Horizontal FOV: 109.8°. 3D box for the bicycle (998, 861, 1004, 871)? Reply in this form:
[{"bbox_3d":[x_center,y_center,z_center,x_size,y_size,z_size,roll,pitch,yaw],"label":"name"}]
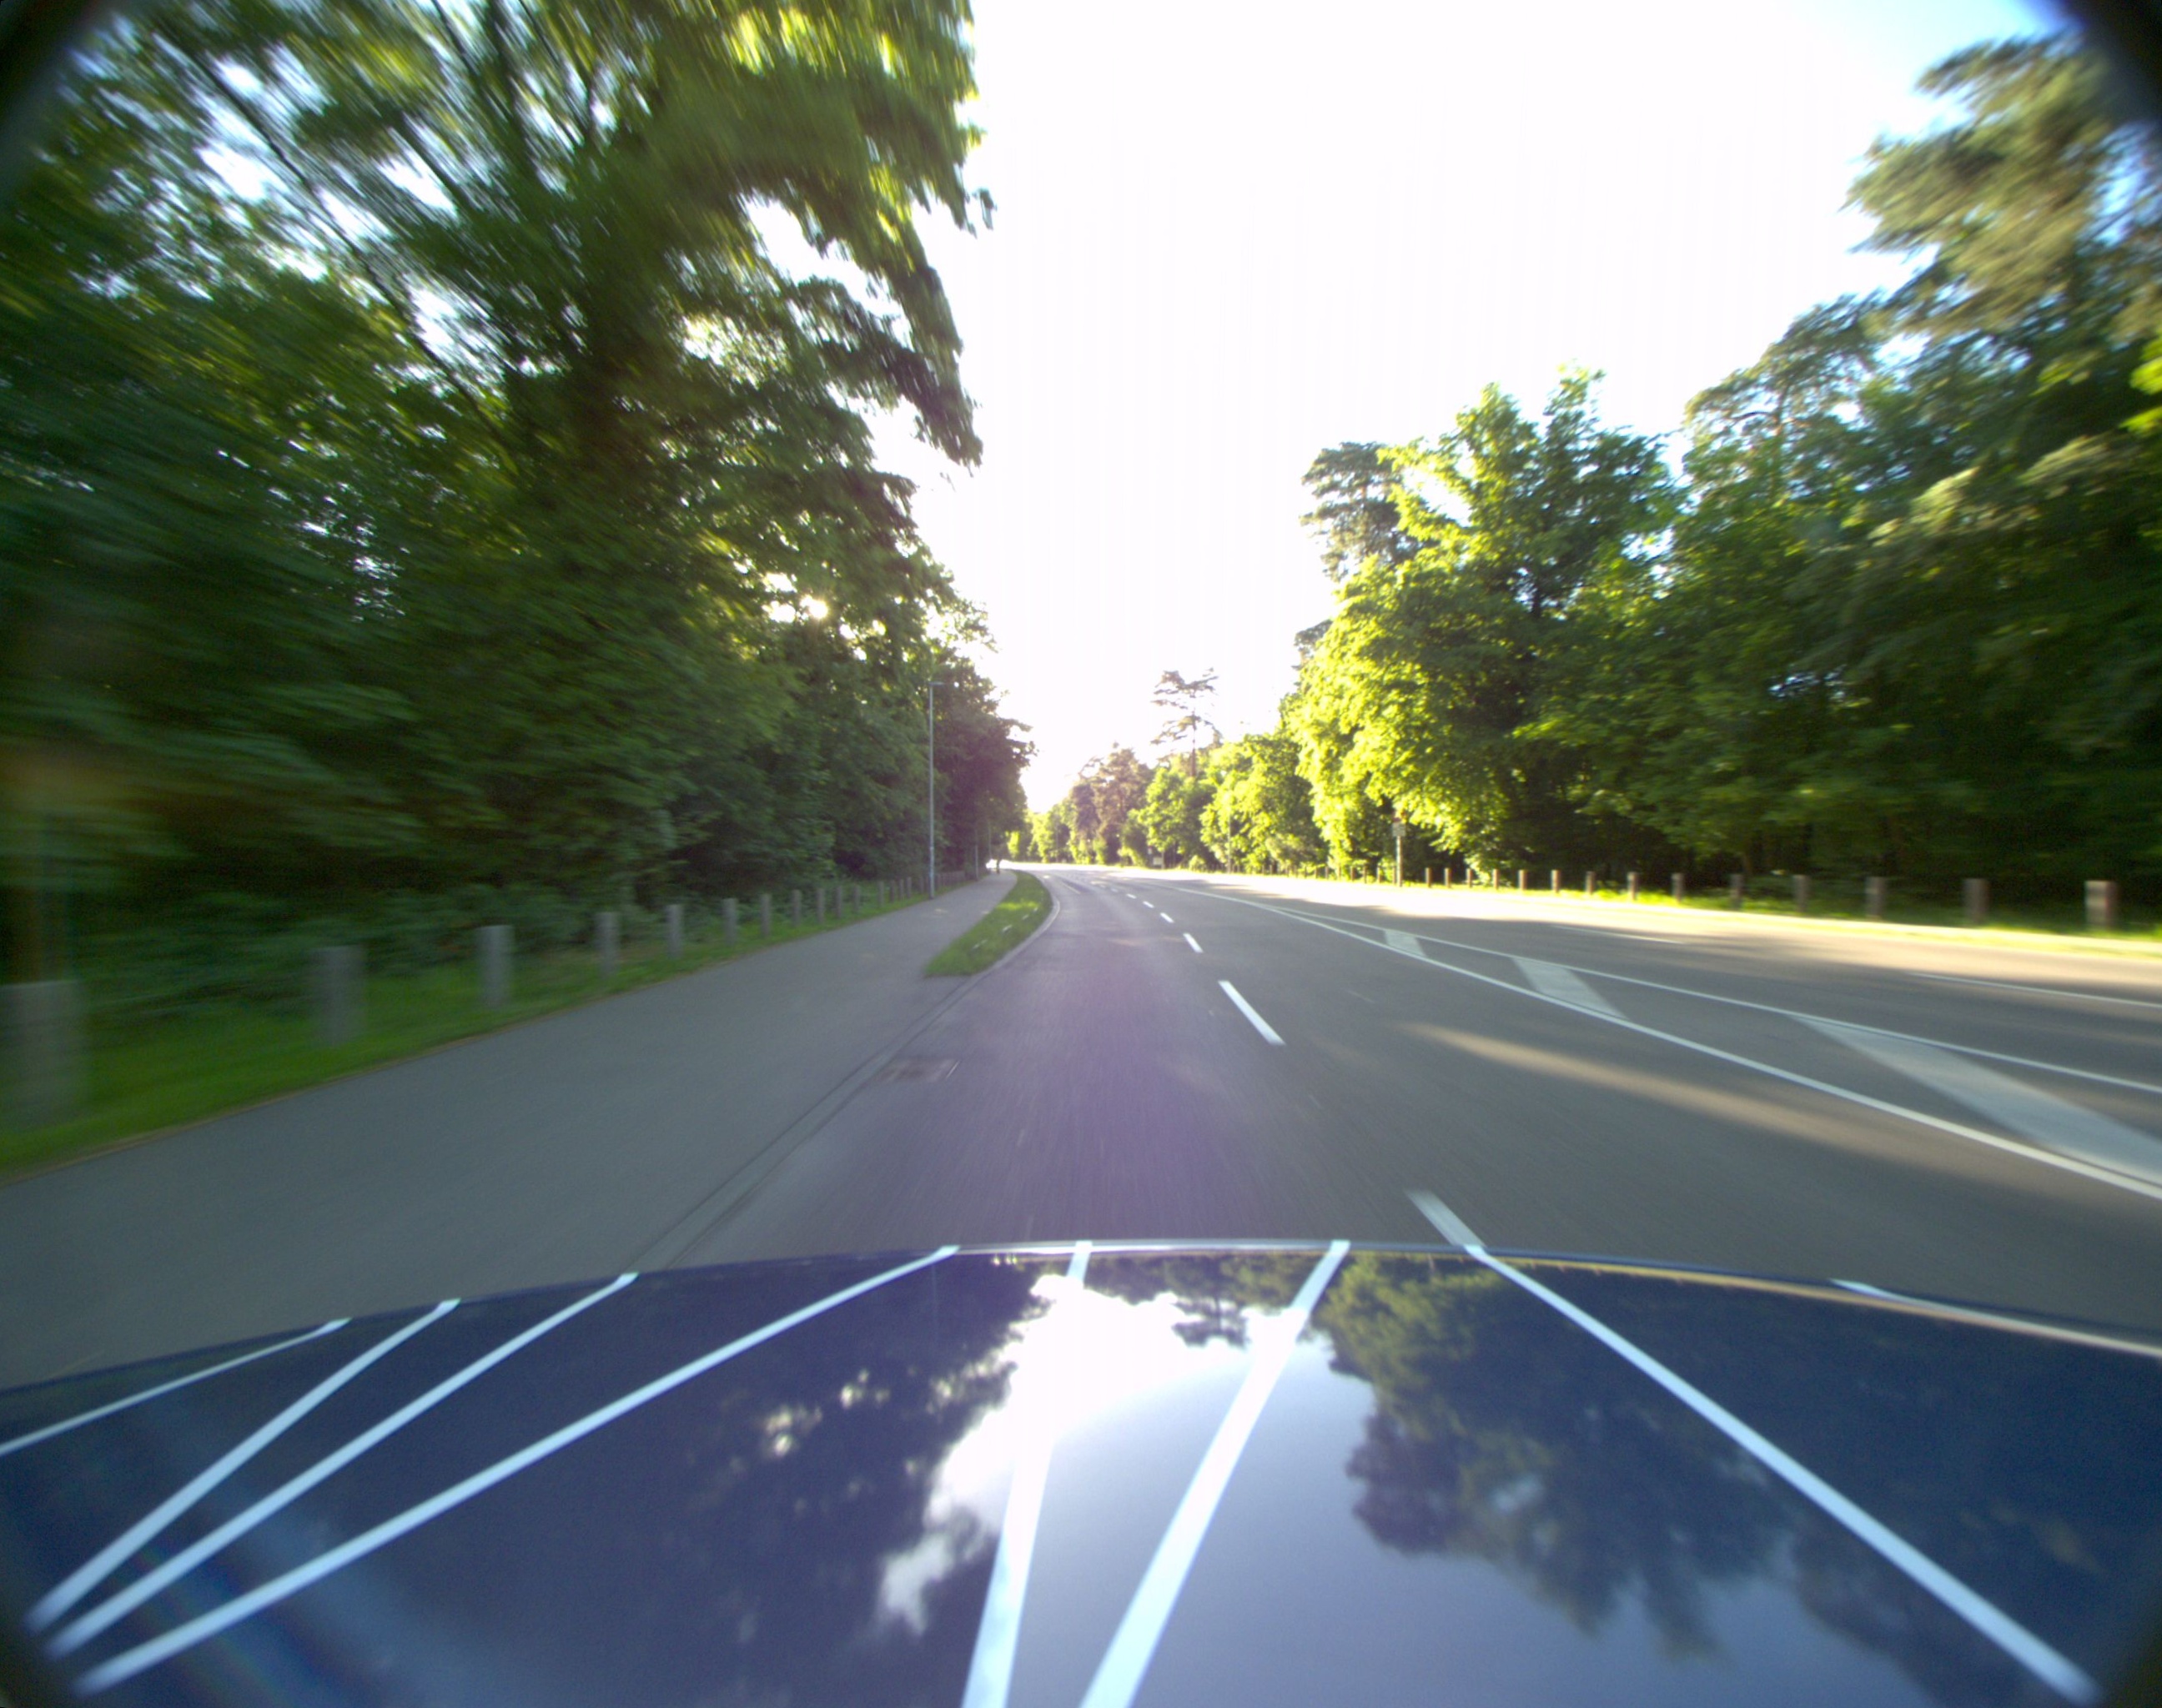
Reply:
[{"bbox_3d":[-8.491,1.300,81.080,0.608,1.051,2.873,-1,0,-5],"label":"bicycle"}]

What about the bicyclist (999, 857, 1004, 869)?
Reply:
[{"bbox_3d":[-8.504,0.919,81.107,0.514,1.260,0.497,-1,1,-6],"label":"bicyclist"}]
